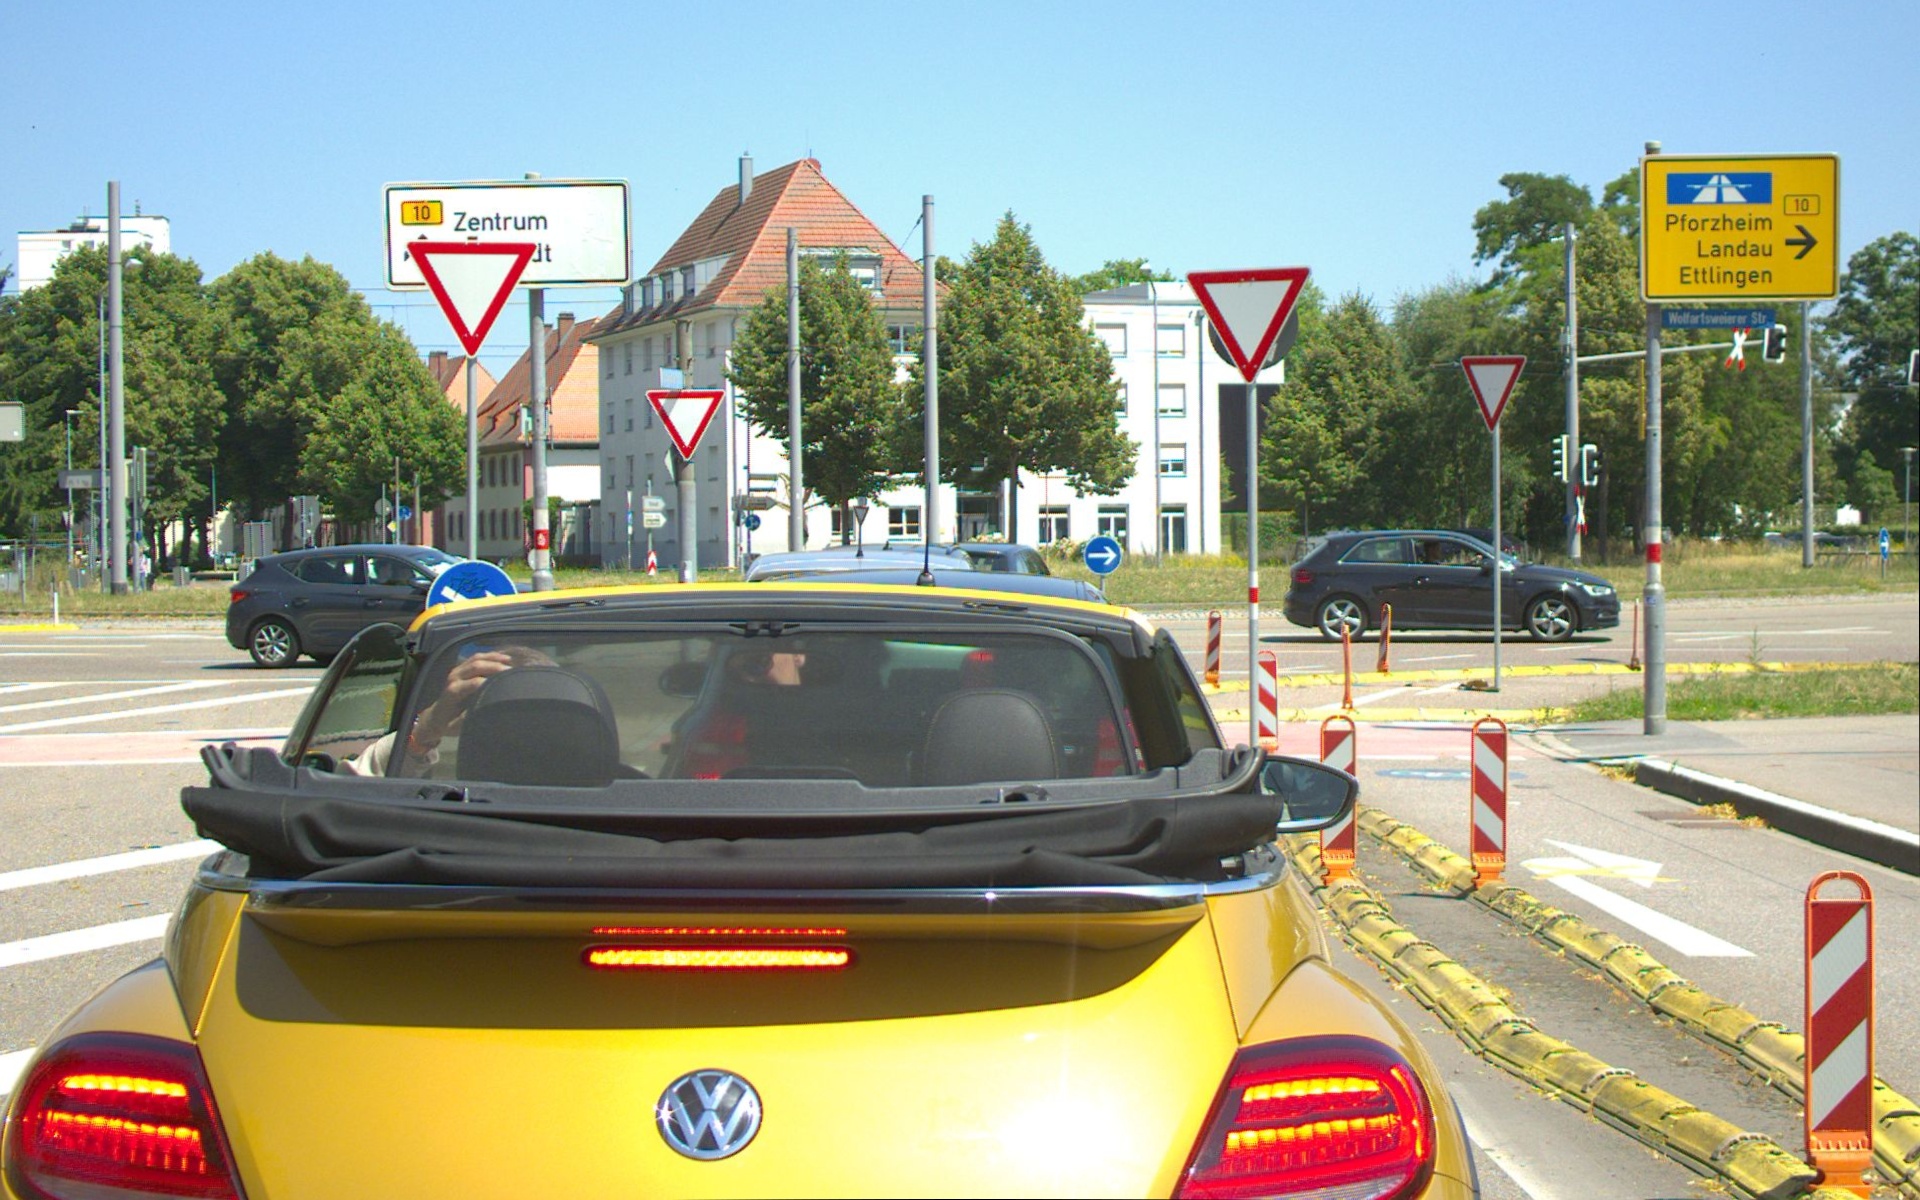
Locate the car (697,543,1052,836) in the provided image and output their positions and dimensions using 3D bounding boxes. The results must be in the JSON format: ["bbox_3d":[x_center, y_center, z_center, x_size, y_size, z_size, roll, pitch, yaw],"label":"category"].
[{"bbox_3d":[-0.441,0.408,18.883,1.736,1.437,4.000,0,1,-1],"label":"car"}]

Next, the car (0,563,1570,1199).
[{"bbox_3d":[-0.328,0.667,5.149,1.752,1.417,3.778,0,1,-1],"label":"car"}]

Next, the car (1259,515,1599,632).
[{"bbox_3d":[5.922,-0.345,43.755,4.188,1.437,2.000,0,1,6],"label":"car"}]

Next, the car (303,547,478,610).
[{"bbox_3d":[-16.695,-0.646,100.904,4.670,1.821,2.000,0,1,-34],"label":"car"}]

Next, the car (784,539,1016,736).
[{"bbox_3d":[-0.468,0.247,27.795,1.736,1.472,4.000,0,1,-1],"label":"car"}]

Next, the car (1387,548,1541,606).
[{"bbox_3d":[15.360,-0.687,104.886,4.195,1.666,1.945,-1,1,34],"label":"car"}]

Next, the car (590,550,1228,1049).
[{"bbox_3d":[-0.168,0.552,11.981,1.848,1.437,4.000,0,1,-1],"label":"car"}]

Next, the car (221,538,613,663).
[{"bbox_3d":[-6.480,-0.021,41.199,4.207,1.437,1.999,0,1,13],"label":"car"}]
